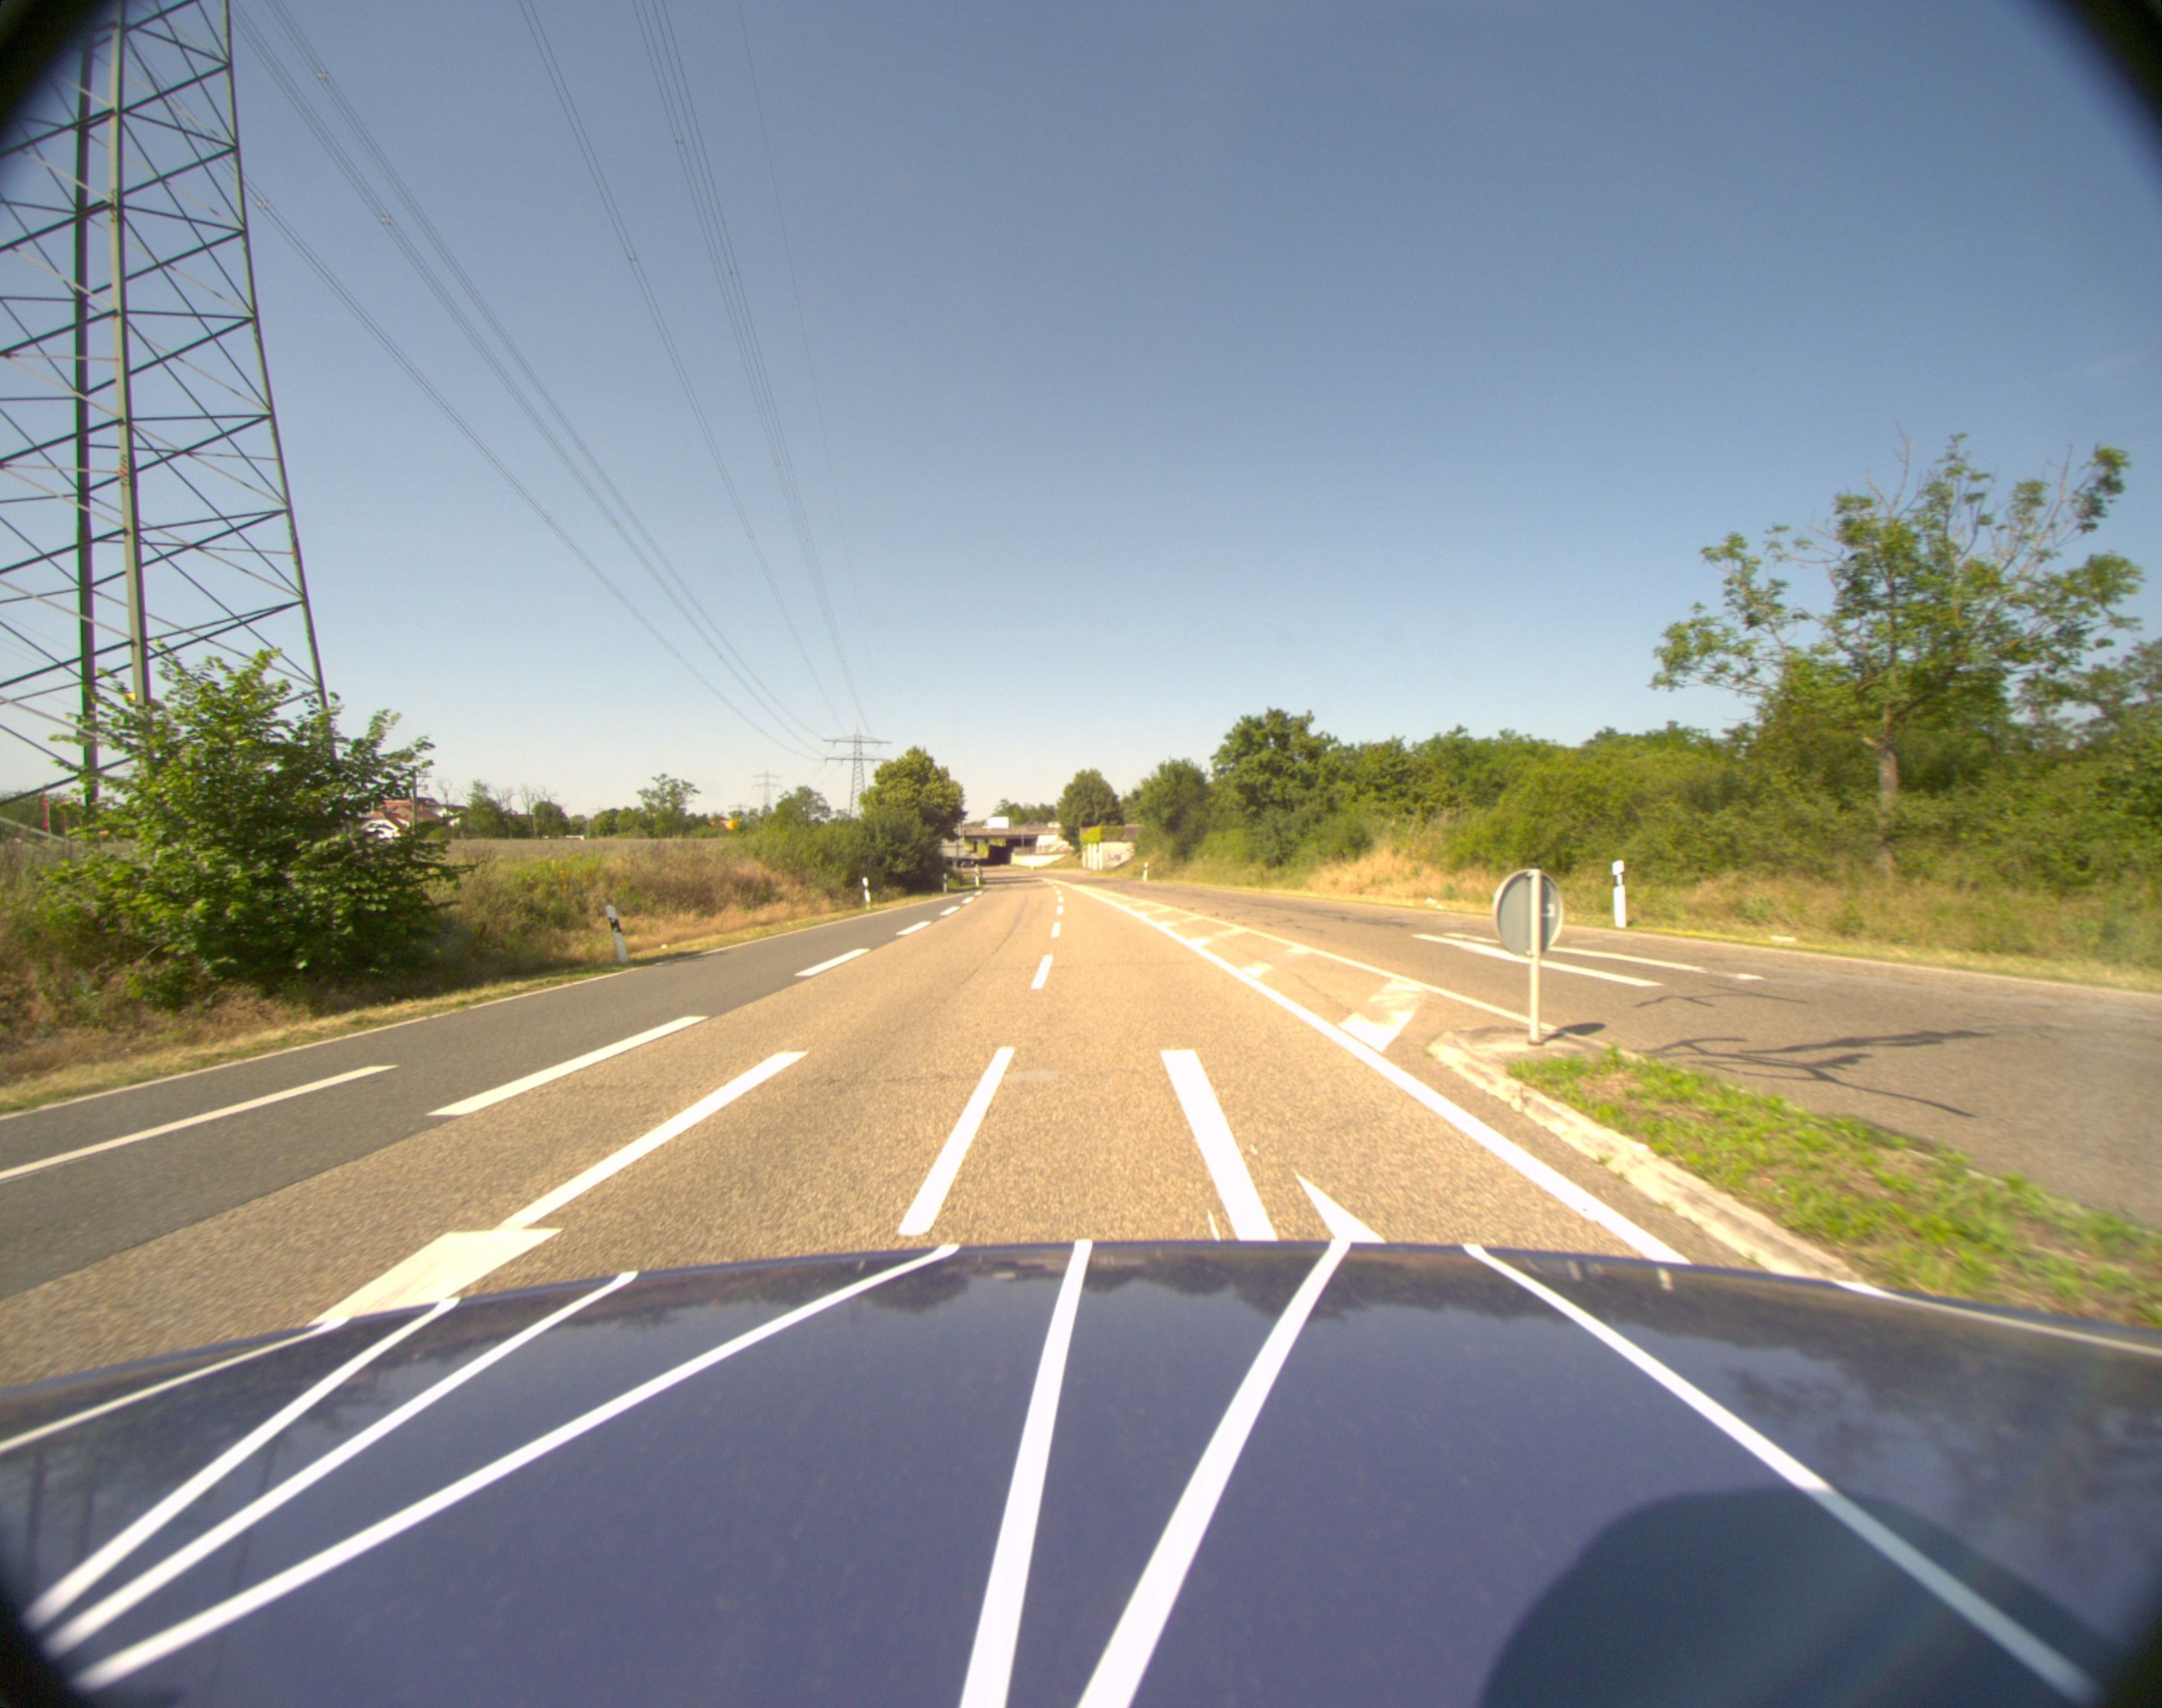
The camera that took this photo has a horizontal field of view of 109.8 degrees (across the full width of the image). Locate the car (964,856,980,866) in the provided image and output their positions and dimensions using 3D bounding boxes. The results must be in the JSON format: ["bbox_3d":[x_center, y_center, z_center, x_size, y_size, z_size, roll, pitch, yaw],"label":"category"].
[{"bbox_3d":[-18.723,1.142,130.761,1.863,1.609,3.641,-2,0,-21],"label":"car"}]
